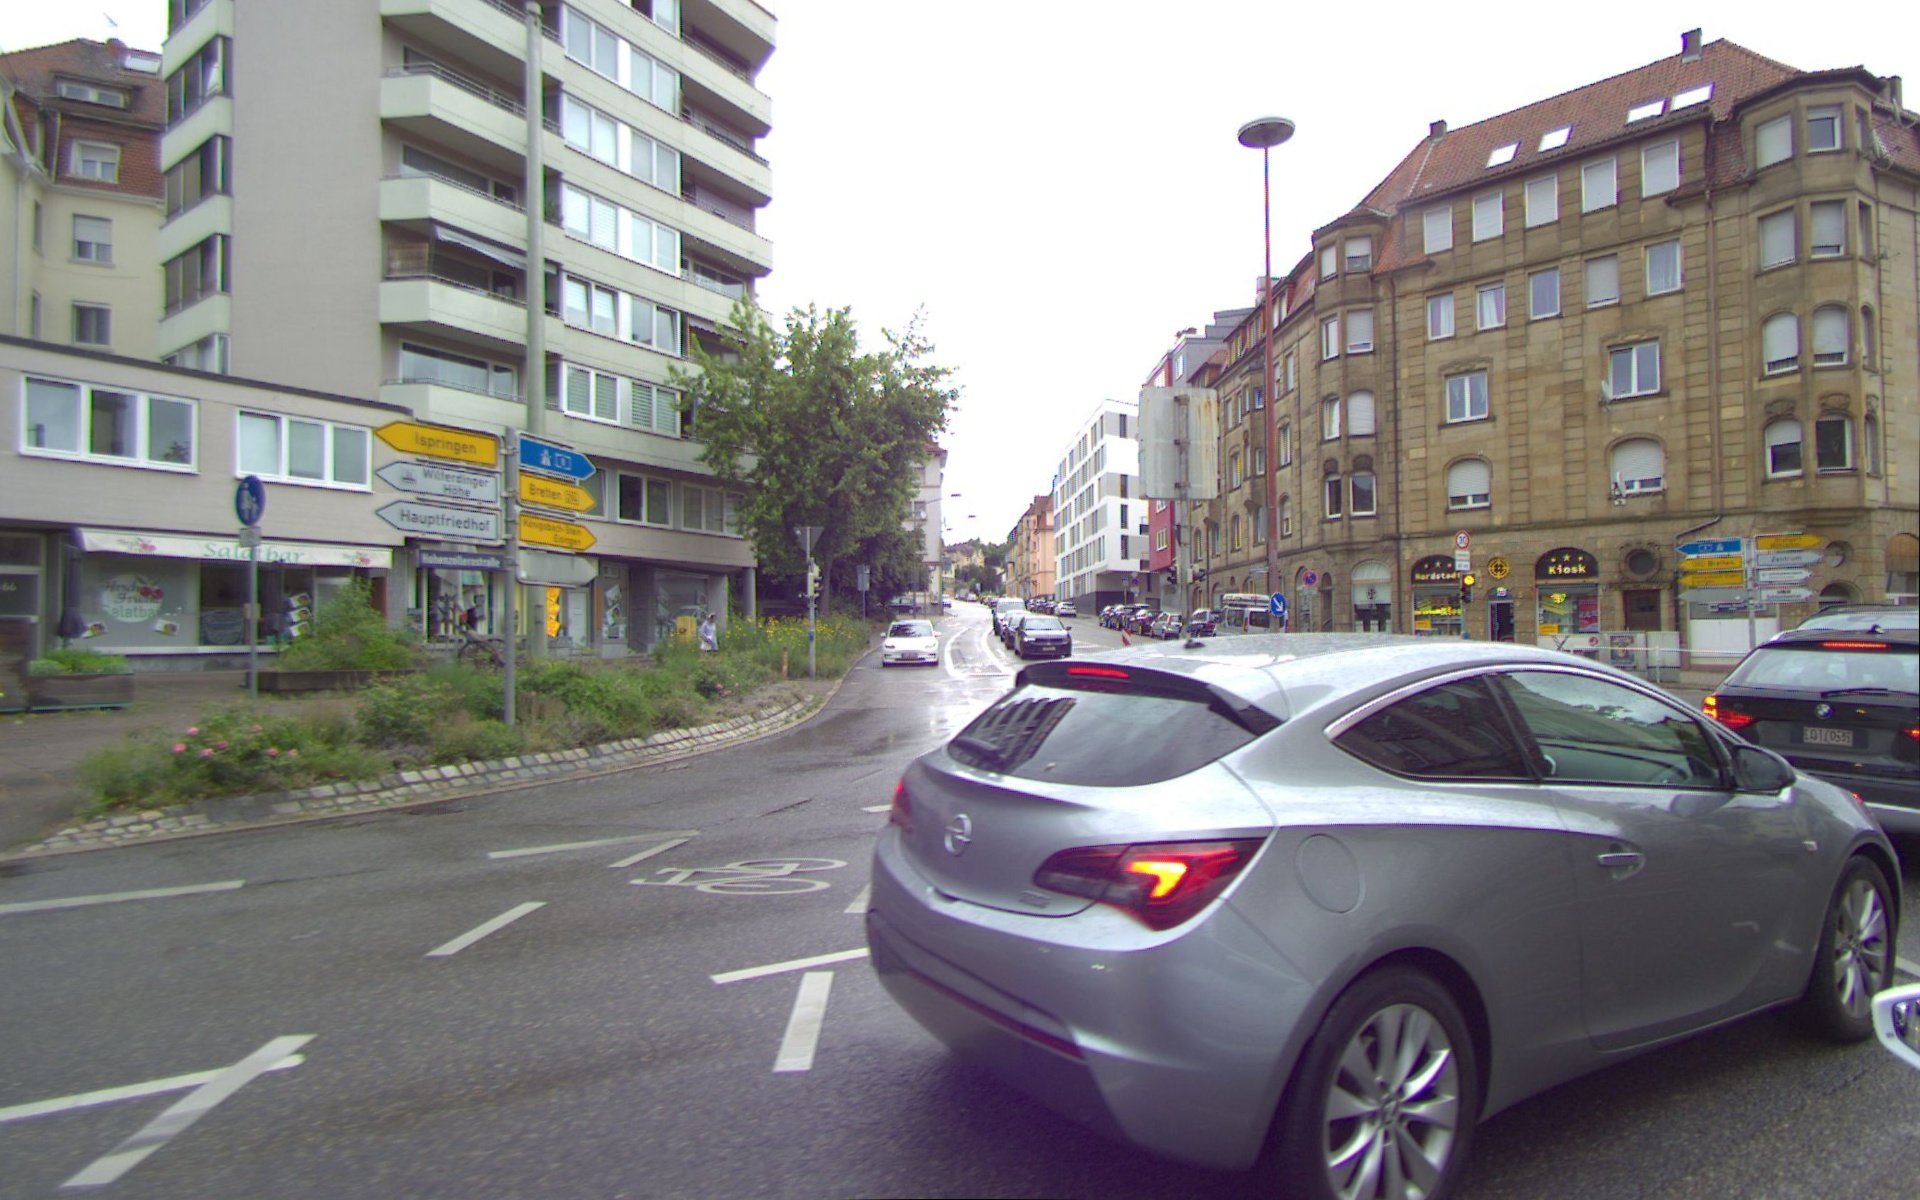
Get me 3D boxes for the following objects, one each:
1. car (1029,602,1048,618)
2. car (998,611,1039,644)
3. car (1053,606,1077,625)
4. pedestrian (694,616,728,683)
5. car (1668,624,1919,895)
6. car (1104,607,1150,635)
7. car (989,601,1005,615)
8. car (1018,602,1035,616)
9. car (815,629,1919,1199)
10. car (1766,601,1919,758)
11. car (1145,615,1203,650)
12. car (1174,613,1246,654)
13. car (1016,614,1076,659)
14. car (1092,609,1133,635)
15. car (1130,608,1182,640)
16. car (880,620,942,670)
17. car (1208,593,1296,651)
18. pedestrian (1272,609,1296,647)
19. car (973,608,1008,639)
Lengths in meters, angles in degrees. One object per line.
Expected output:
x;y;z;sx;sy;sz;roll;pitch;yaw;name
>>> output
9.286;1.209;118.593;1.665;1.727;4.213;2;-1;-3;car
2.808;1.322;49.027;1.704;1.558;4.302;0;-1;-1;car
10.489;1.556;100.332;1.665;1.727;4.213;2;-1;-3;car
-6.485;1.281;26.190;0.612;1.715;0.620;1;0;12;pedestrian
7.153;1.034;7.299;4.167;1.555;1.743;3;-2;-31;car
10.774;1.364;65.097;1.962;1.727;4.213;2;-1;-3;car
4.993;1.103;135.696;1.665;1.727;4.213;2;-1;-3;car
8.740;1.182;131.573;1.665;1.727;4.213;2;-1;-3;car
1.720;0.888;3.727;4.131;1.502;1.744;2;-2;-30;car
13.087;1.043;13.462;4.085;1.870;1.740;2;-3;-21;car
11.363;1.700;53.634;1.962;1.727;4.213;2;-1;-3;car
11.472;1.511;46.383;1.962;1.727;4.379;2;-1;-3;car
3.012;1.254;35.862;1.732;1.511;4.024;0;-1;-1;car
10.646;1.516;70.541;1.962;1.727;4.213;2;-1;-3;car
11.371;1.377;58.513;1.962;1.727;4.213;2;-1;-3;car
-1.585;1.461;33.700;1.876;1.511;4.393;1;-1;-1;car
11.926;0.893;41.411;1.962;2.197;4.802;2;-1;-3;car
14.617;1.274;45.345;0.774;1.683;0.665;2;0;-29;pedestrian
1.659;1.330;56.159;1.704;1.558;4.155;3;-1;-1;car
